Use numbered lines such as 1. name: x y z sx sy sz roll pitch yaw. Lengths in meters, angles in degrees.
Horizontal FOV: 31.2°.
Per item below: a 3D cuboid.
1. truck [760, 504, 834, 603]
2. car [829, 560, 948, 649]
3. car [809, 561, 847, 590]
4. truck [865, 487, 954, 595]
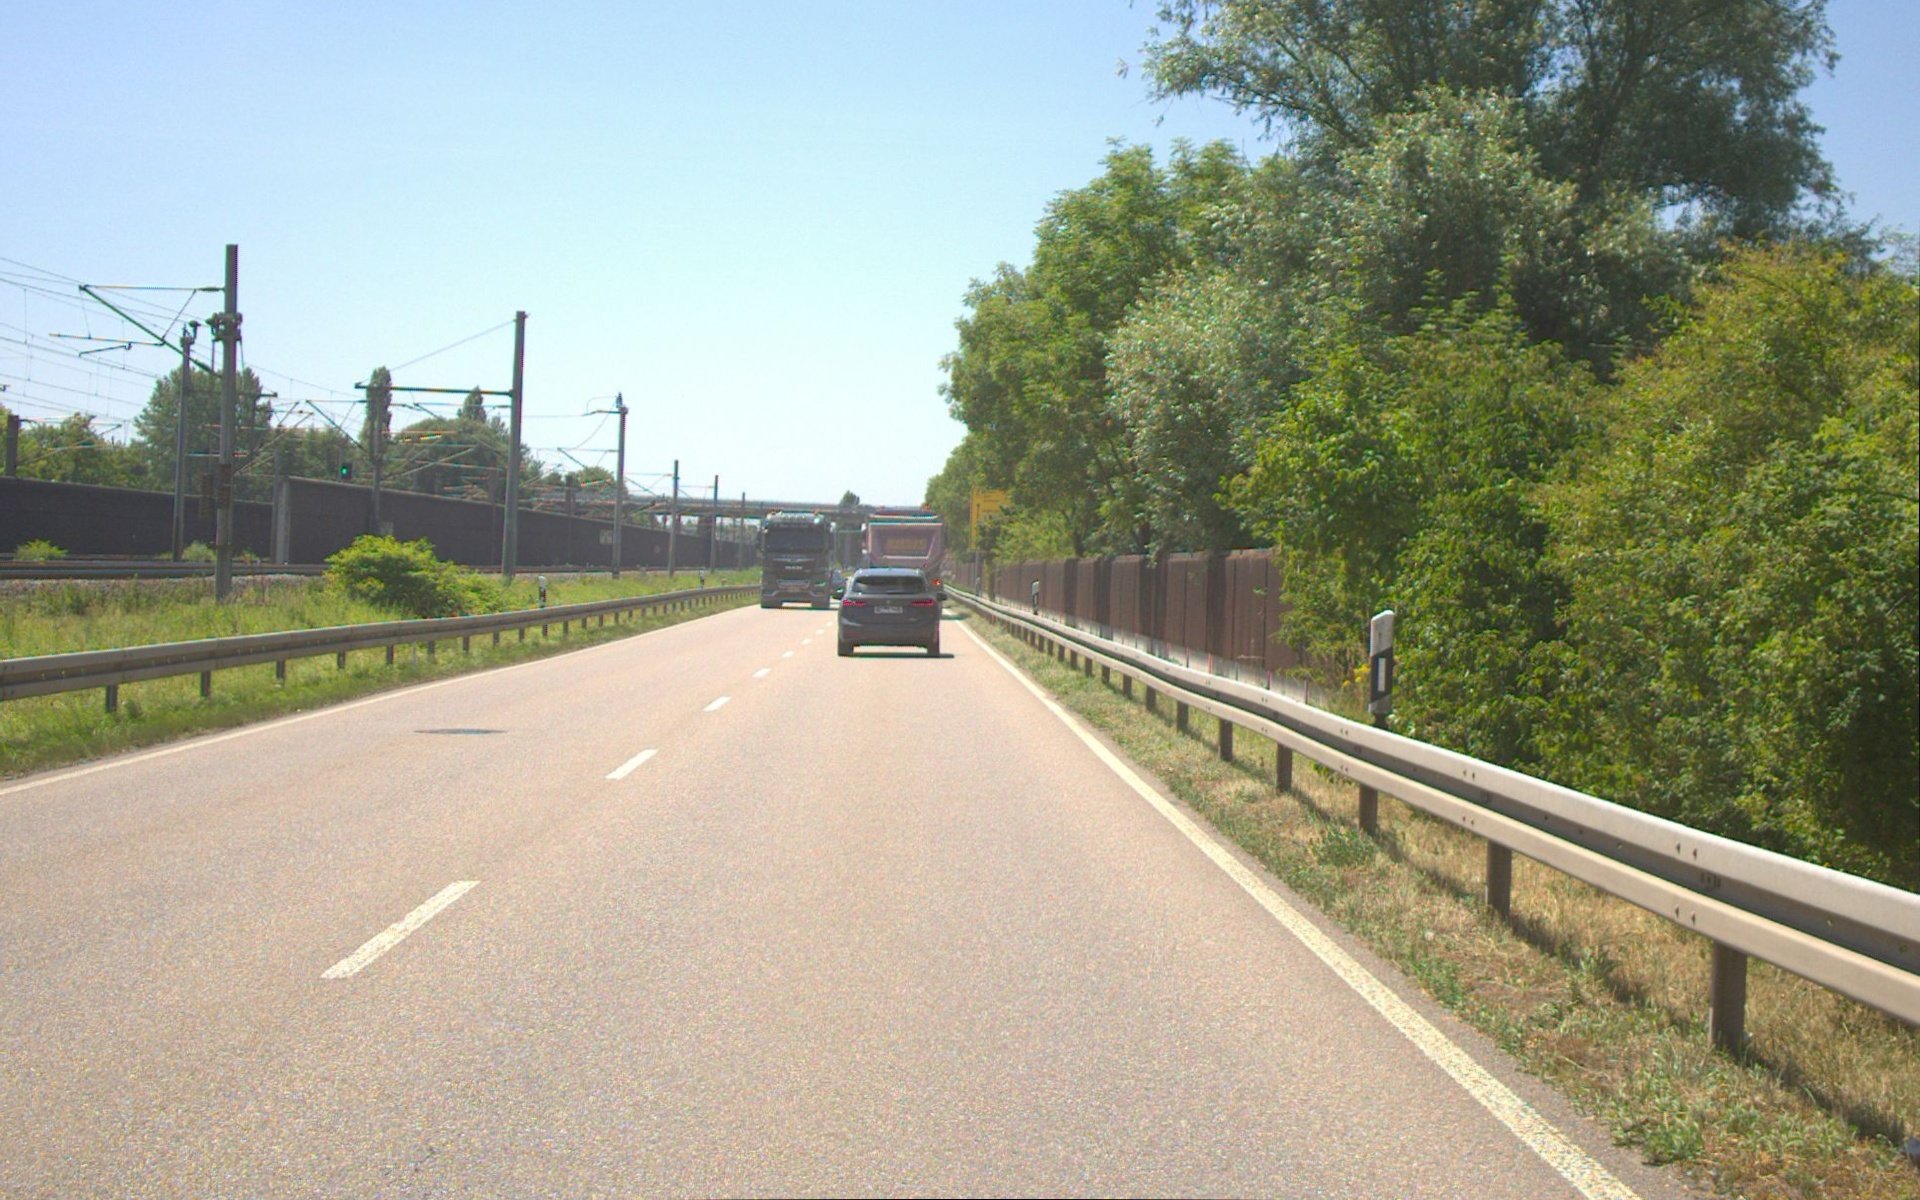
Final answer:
1. truck: -6.290 -1.829 133.740 2.658 3.614 10.979 1 1 -2
2. car: -1.322 0.057 61.696 1.993 1.503 4.001 1 1 -3
3. car: -7.152 -1.356 186.684 1.975 1.503 4.163 1 1 -1
4. truck: -1.703 -1.949 115.857 2.770 3.414 10.820 1 1 -1
